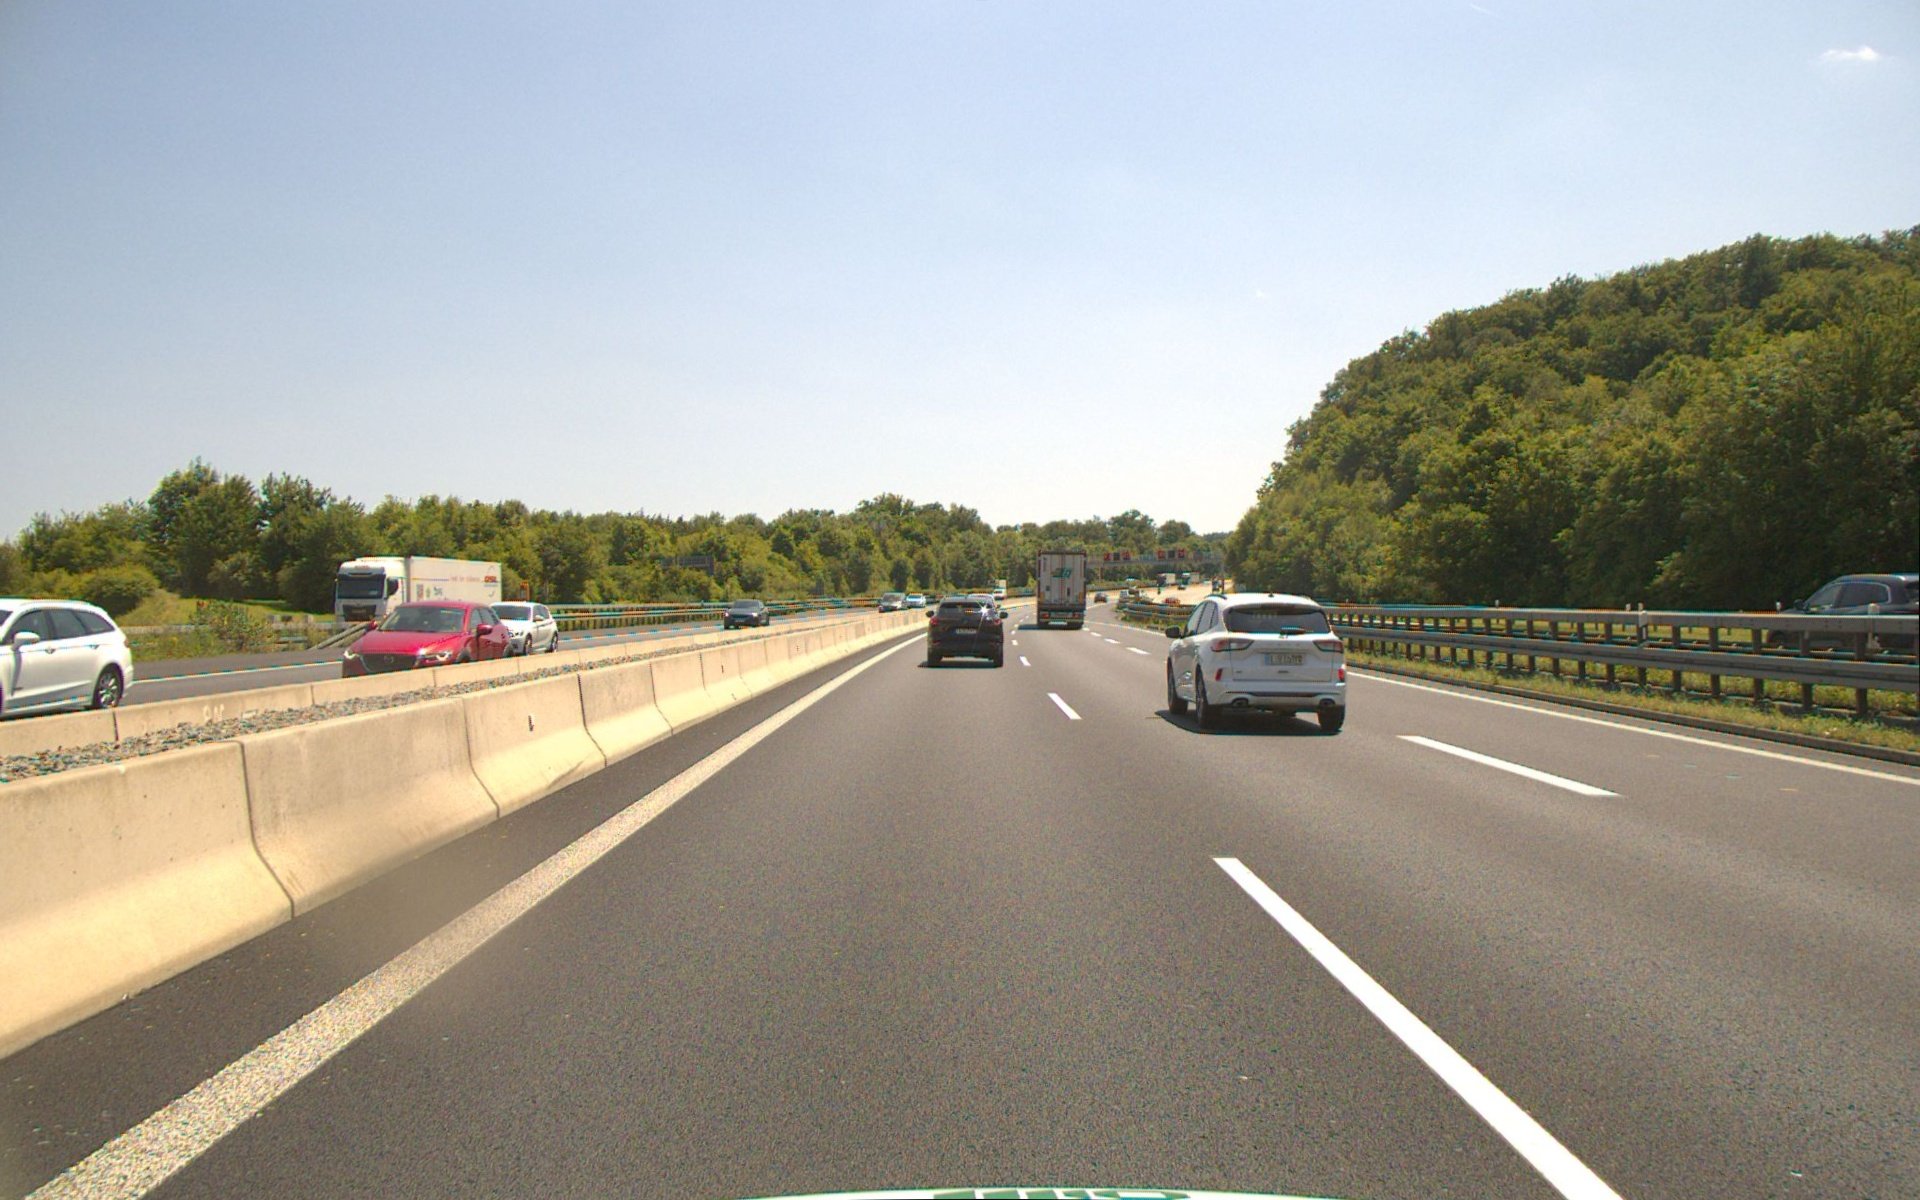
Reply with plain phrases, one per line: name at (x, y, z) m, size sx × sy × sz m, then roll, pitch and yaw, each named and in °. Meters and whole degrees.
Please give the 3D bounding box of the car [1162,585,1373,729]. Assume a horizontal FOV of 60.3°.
car at (3.903, 0.697, 21.770) m, size 1.953 × 1.691 × 4.467 m, roll 0°, pitch -1°, yaw 0°

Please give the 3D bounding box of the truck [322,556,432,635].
truck at (-27.289, -0.186, 77.637) m, size 3.019 × 3.565 × 5.411 m, roll 0°, pitch -1°, yaw 2°

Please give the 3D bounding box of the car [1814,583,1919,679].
car at (17.769, 0.553, 29.722) m, size 1.954 × 1.691 × 5.225 m, roll 0°, pitch -1°, yaw -3°

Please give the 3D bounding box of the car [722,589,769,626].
car at (-11.034, 0.404, 85.323) m, size 1.953 × 1.856 × 4.903 m, roll 0°, pitch -1°, yaw -2°

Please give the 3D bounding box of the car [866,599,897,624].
car at (-6.061, 0.902, 128.569) m, size 1.993 × 1.890 × 5.376 m, roll 0°, pitch -1°, yaw 2°

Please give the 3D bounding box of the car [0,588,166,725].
car at (-11.942, 0.659, 20.344) m, size 1.953 × 1.570 × 5.040 m, roll 0°, pitch -1°, yaw -1°

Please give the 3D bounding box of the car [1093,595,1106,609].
car at (21.401, 0.312, 253.903) m, size 1.951 × 2.049 × 4.002 m, roll 0°, pitch -1°, yaw 5°

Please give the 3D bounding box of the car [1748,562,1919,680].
car at (14.620, 0.327, 25.516) m, size 1.954 × 1.691 × 5.621 m, roll 0°, pitch -1°, yaw -4°

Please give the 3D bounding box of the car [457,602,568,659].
car at (-11.971, 0.796, 44.509) m, size 1.812 × 1.419 × 4.000 m, roll 1°, pitch 0°, yaw 1°

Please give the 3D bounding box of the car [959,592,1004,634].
car at (1.166, 0.667, 88.252) m, size 1.951 × 2.048 × 4.003 m, roll -3°, pitch 0°, yaw 6°

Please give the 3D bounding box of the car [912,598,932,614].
car at (-4.017, 0.631, 175.987) m, size 1.750 × 1.660 × 4.931 m, roll 0°, pitch 0°, yaw 3°

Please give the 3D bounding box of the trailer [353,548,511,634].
trailer at (-26.930, -0.345, 85.390) m, size 3.043 × 4.067 × 14.089 m, roll 0°, pitch -1°, yaw 3°

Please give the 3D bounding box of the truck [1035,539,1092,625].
truck at (5.649, -0.893, 92.168) m, size 2.969 × 4.496 × 12.022 m, roll 0°, pitch -1°, yaw 3°

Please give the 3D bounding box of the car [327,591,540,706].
car at (-8.333, 0.735, 26.649) m, size 1.953 × 1.688 × 4.633 m, roll 0°, pitch -1°, yaw 0°

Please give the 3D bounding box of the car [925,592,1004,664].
car at (0.067, 0.656, 39.595) m, size 1.743 × 1.605 × 3.998 m, roll 1°, pitch -1°, yaw -2°
